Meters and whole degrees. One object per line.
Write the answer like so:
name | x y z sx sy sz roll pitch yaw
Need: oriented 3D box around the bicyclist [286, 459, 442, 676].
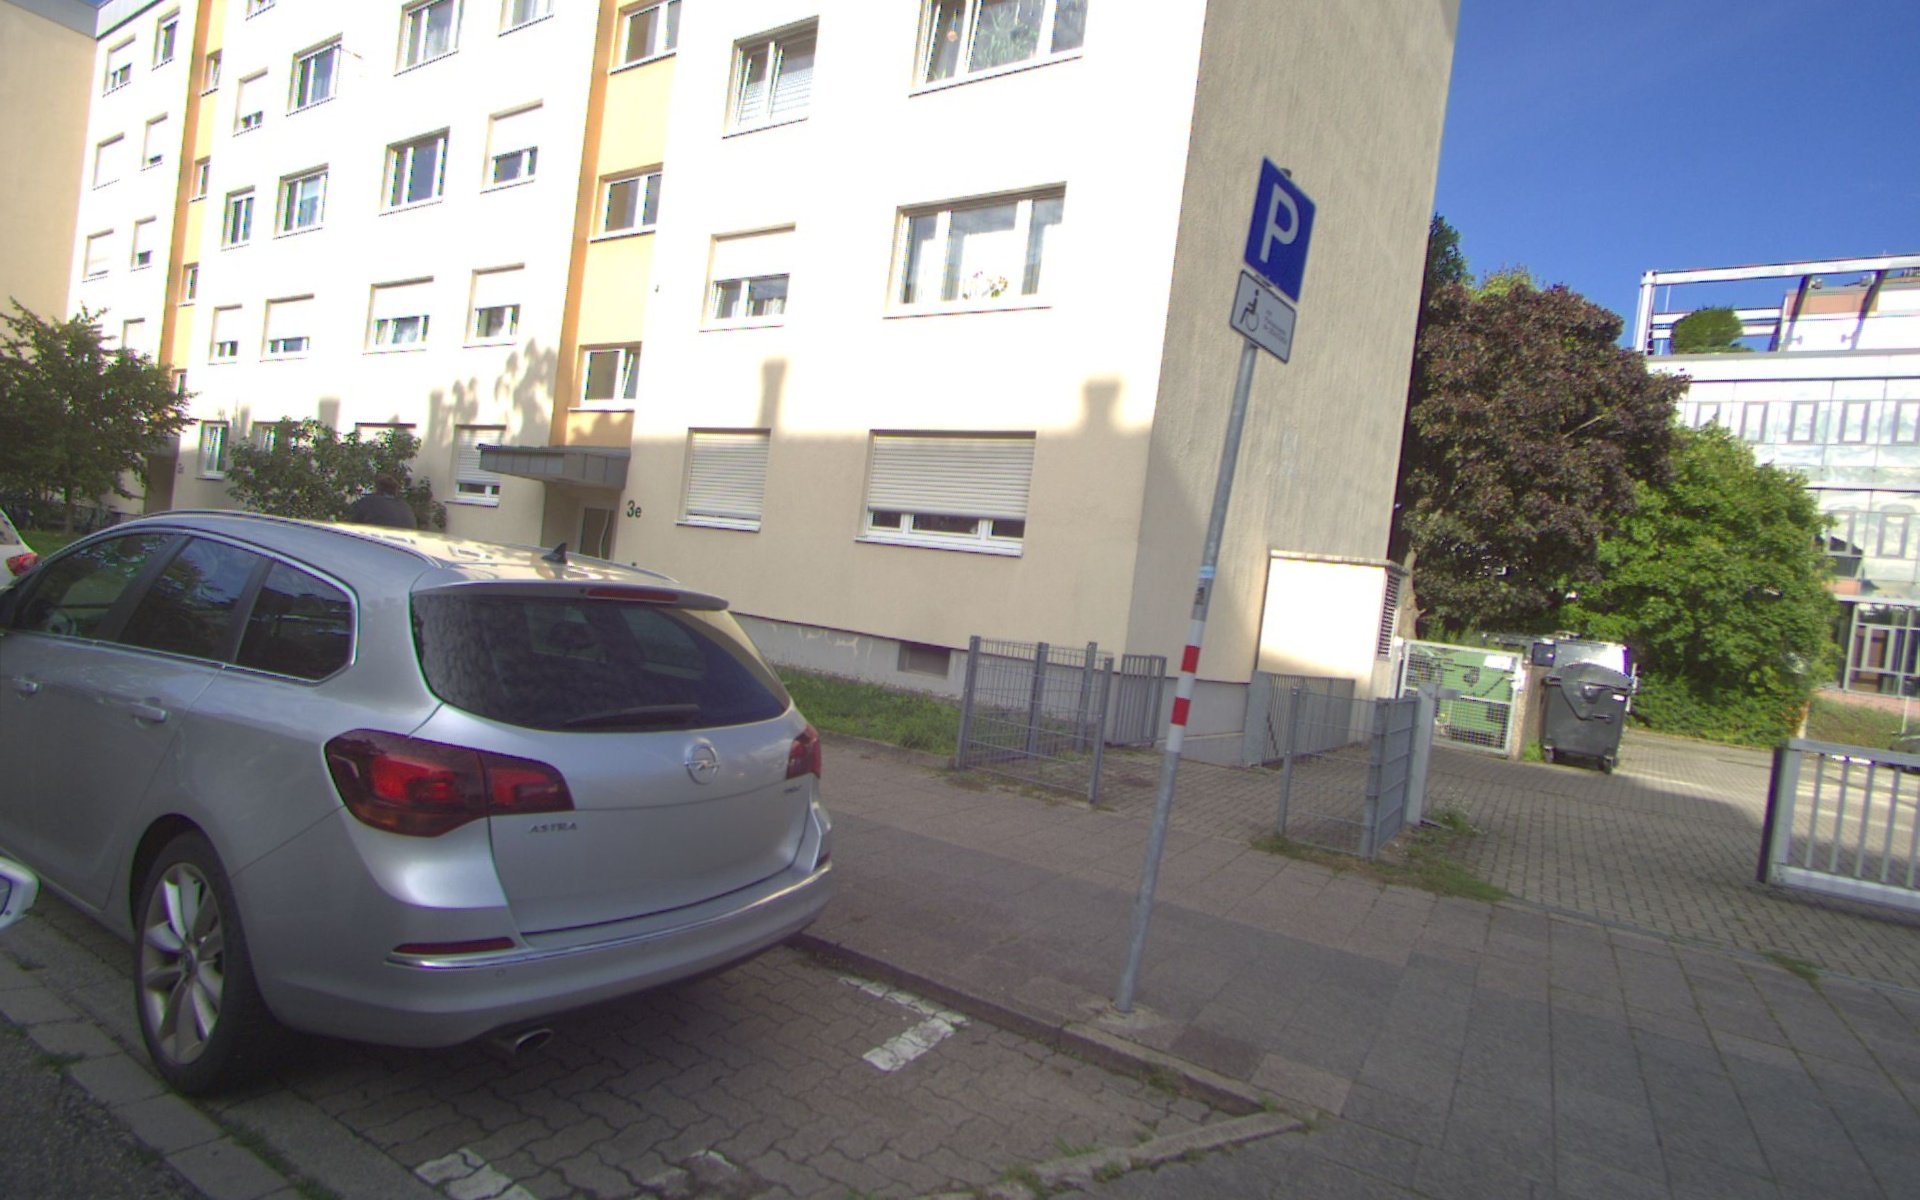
bicyclist | -5.047 -0.269 8.527 0.878 1.698 0.624 8 1 30

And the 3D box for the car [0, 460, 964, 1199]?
car | -2.317 0.421 3.816 4.258 1.543 1.764 8 1 33

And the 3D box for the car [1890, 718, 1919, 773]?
car | 27.524 4.172 28.030 1.842 1.435 4.077 8 -1 38

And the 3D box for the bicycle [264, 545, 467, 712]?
bicycle | -5.068 0.215 8.536 1.896 1.149 0.524 8 1 30

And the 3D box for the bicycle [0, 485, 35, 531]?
bicycle | -24.341 -2.386 25.662 2.034 1.044 0.501 7 3 31

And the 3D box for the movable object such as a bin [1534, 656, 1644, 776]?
movable object such as a bin | 8.635 1.567 13.846 1.092 1.436 0.877 8 2 32

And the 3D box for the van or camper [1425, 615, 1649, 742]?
van or camper | 15.680 2.079 27.452 4.805 2.666 2.148 7 1 38

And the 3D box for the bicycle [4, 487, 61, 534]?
bicycle | -24.071 -2.328 26.097 1.992 1.044 0.501 7 3 31

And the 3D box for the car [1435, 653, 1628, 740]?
car | 14.320 2.363 25.240 3.936 1.505 1.994 7 0 35

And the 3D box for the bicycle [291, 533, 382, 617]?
bicycle | -9.617 -0.390 15.494 1.564 1.151 0.445 6 1 31

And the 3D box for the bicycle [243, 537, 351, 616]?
bicycle | -9.903 -0.355 15.008 1.664 1.010 0.597 6 -1 30

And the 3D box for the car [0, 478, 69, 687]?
car | -8.873 -0.379 7.749 4.134 1.486 1.686 8 1 29

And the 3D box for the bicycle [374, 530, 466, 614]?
bicycle | -8.899 -0.469 16.558 1.564 1.231 0.522 6 1 30

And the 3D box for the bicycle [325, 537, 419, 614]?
bicycle | -9.353 -0.396 15.985 1.564 1.088 0.522 6 1 30

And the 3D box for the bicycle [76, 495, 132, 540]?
bicycle | -23.231 -2.243 27.291 2.099 1.045 0.501 7 4 32

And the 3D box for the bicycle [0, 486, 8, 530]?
bicycle | -24.610 -2.384 25.214 2.060 1.044 0.501 7 3 31
